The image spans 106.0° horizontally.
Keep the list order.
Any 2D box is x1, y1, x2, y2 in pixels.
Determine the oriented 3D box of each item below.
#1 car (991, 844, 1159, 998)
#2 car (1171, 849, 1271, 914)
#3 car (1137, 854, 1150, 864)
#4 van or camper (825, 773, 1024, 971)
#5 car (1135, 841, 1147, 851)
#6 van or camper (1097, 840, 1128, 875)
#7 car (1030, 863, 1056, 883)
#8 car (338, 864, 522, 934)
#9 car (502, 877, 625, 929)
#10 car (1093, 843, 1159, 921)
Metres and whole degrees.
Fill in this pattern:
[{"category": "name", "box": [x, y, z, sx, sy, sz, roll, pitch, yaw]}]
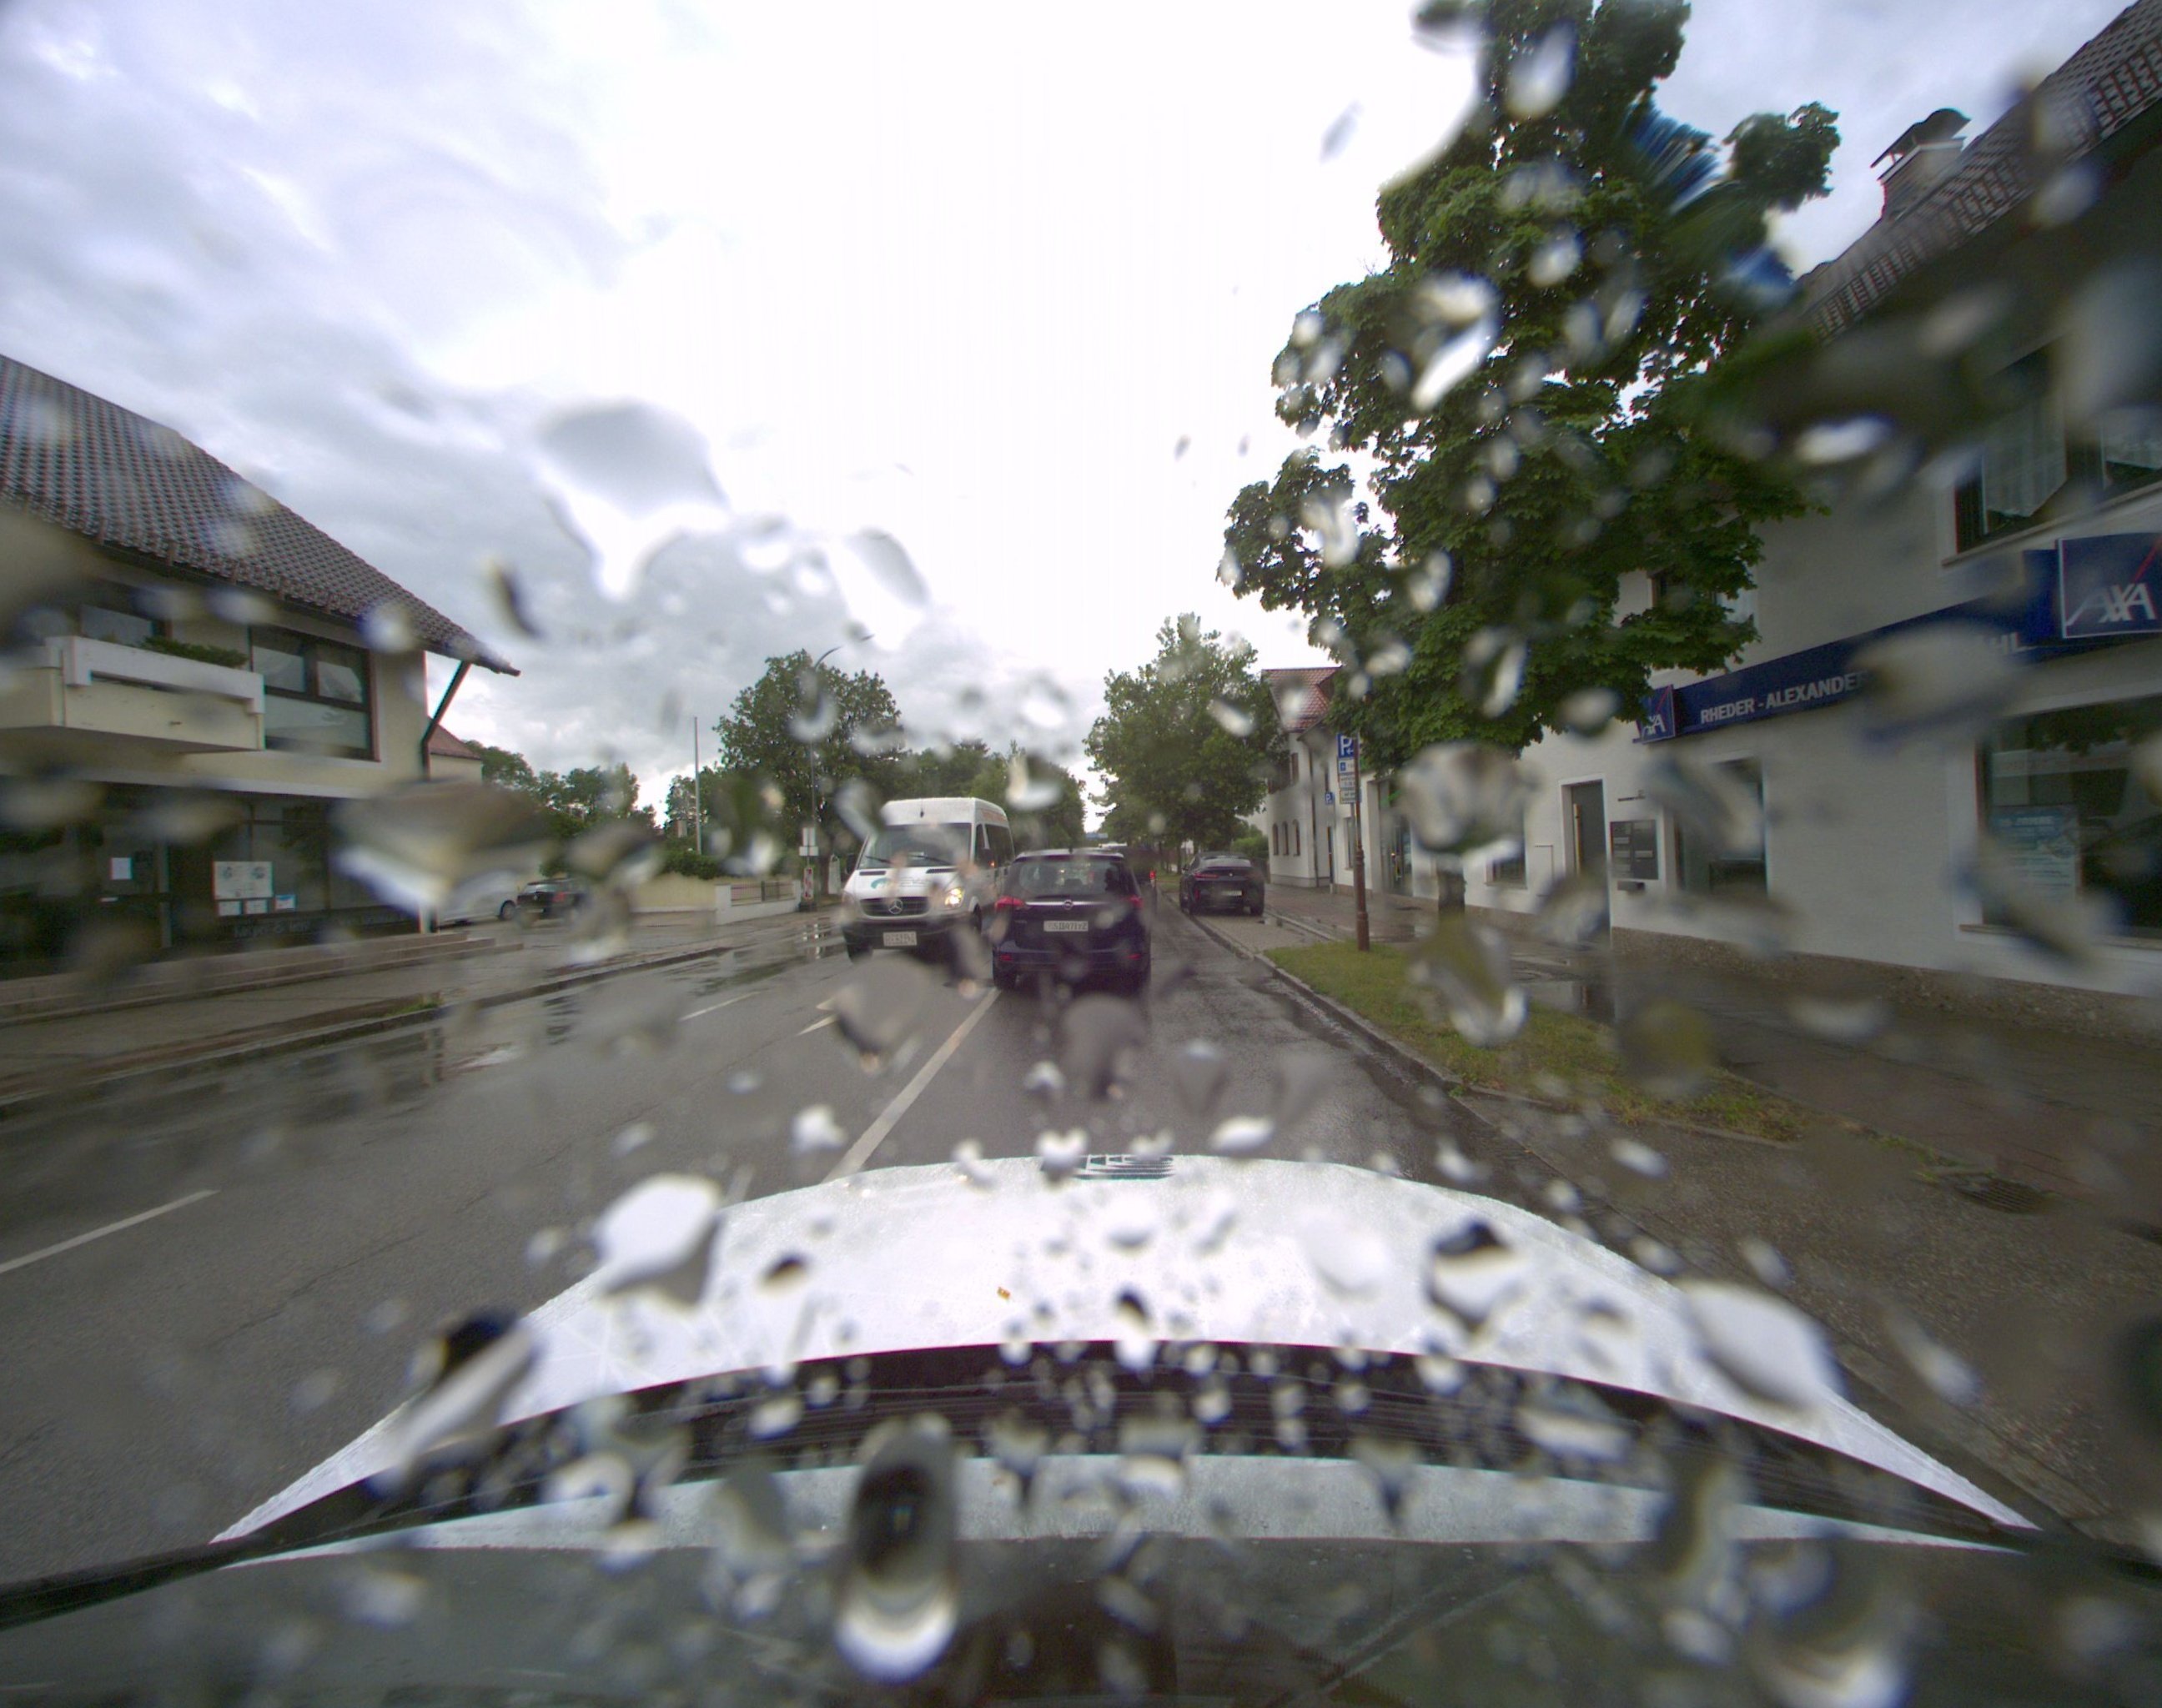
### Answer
[{"category": "car", "box": [0.008, 0.721, 10.423, 1.762, 1.604, 3.665, -1, 0, 2]}, {"category": "car", "box": [3.665, 0.707, 22.032, 2.110, 1.581, 3.937, -1, -1, 2]}, {"category": "car", "box": [8.441, 0.691, 110.736, 1.624, 1.378, 3.624, -1, -1, 2]}, {"category": "van or camper", "box": [-2.436, 0.270, 14.640, 2.086, 2.707, 6.270, -2, 0, 2]}, {"category": "car", "box": [8.808, -1.200, 120.102, 1.624, 1.378, 3.624, -3, -1, 2]}, {"category": "van or camper", "box": [2.577, 0.291, 67.093, 2.351, 2.665, 5.374, -3, 0, 2]}, {"category": "car", "box": [-3.030, 1.501, 65.637, 1.573, 1.375, 4.187, -4, 0, 3]}, {"category": "car", "box": [-20.875, 1.367, 26.442, 1.957, 1.919, 4.738, -4, 0, 1]}, {"category": "car", "box": [-16.297, 1.493, 25.843, 1.602, 1.380, 3.507, -4, -1, 0]}, {"category": "car", "box": [1.092, 0.649, 20.223, 1.494, 1.776, 3.113, -1, 0, 2]}]
